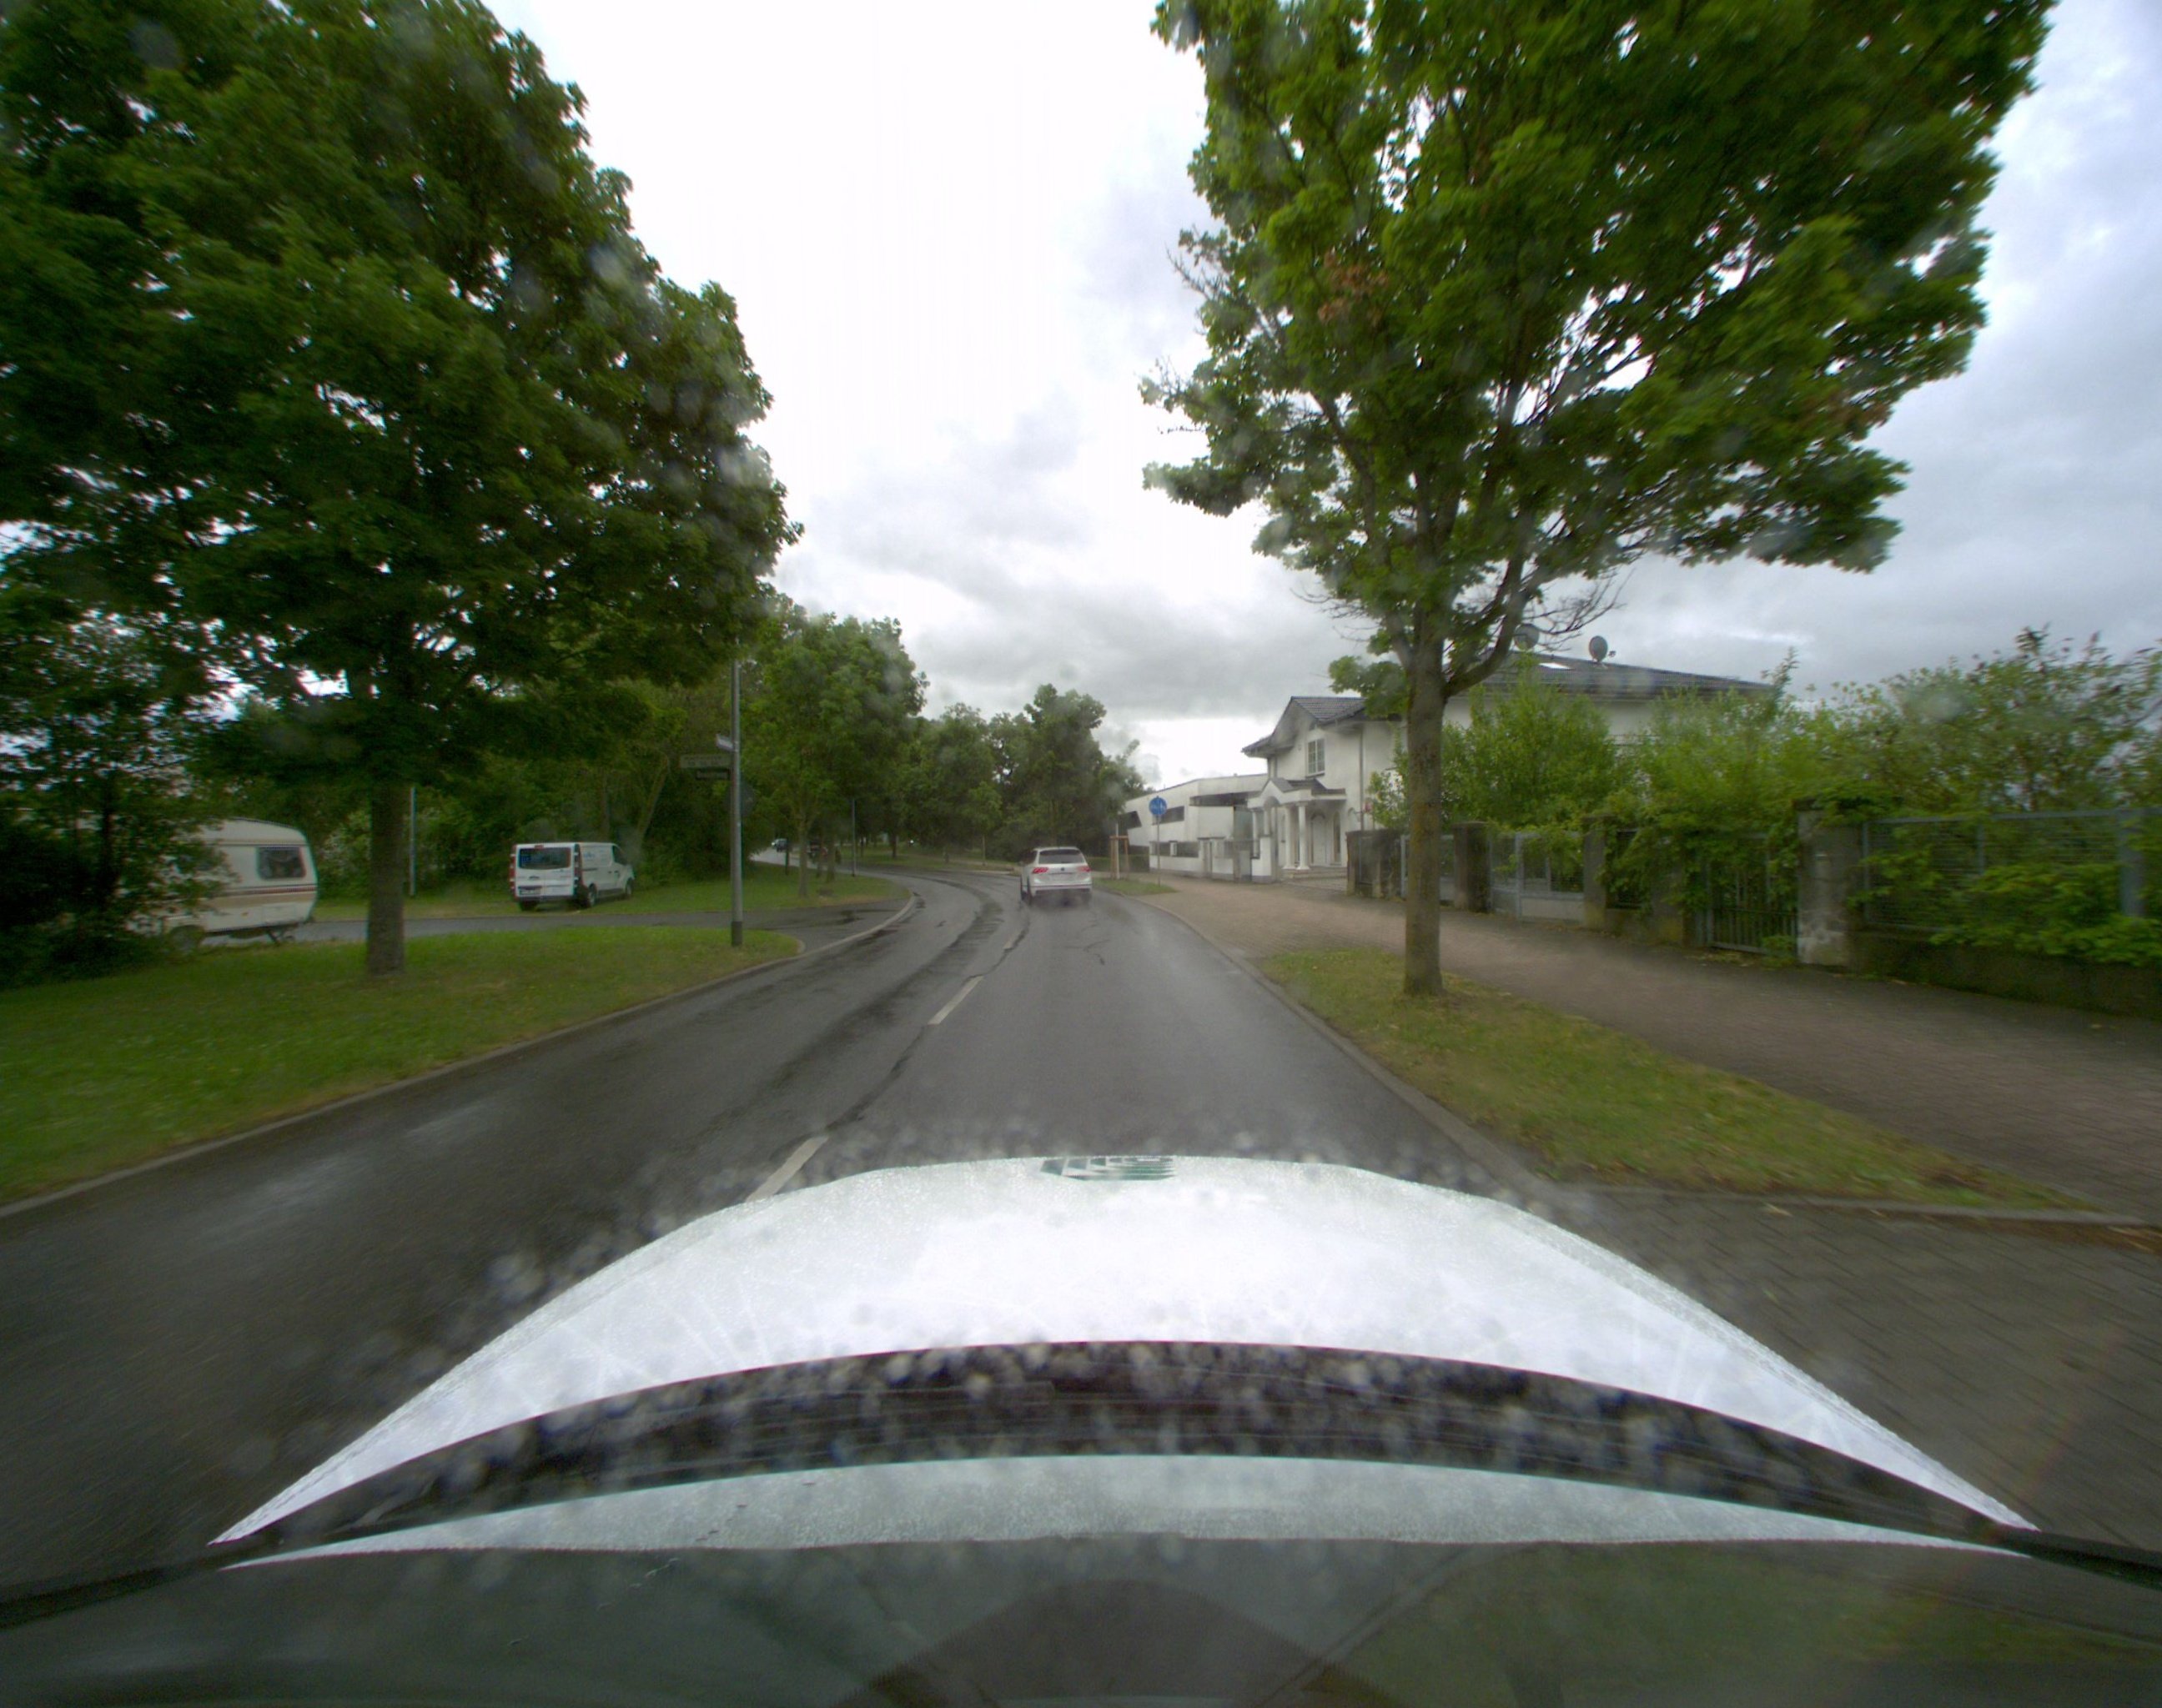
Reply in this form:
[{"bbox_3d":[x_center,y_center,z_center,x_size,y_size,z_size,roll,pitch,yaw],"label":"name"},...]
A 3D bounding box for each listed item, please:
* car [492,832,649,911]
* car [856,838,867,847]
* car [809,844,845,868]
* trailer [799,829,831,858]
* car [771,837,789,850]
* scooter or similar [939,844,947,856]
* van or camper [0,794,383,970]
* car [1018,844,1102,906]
[{"bbox_3d":[-15.752,0.406,25.568,2.127,1.985,5.458,-2,3,-9],"label":"car"},{"bbox_3d":[-46.894,-2.490,173.751,1.995,1.807,3.984,2,0,-12],"label":"car"},{"bbox_3d":[-22.334,0.143,71.459,1.914,2.014,3.903,2,0,-34],"label":"car"},{"bbox_3d":[-28.350,-1.170,86.543,2.006,2.807,5.556,-7,4,-29],"label":"trailer"},{"bbox_3d":[-41.473,-1.457,112.248,1.800,1.537,4.056,2,1,-28],"label":"car"},{"bbox_3d":[-13.921,-0.381,81.990,0.465,1.146,1.290,-2,2,-25],"label":"scooter or similar"},{"bbox_3d":[-15.987,0.412,14.147,2.381,2.360,6.796,-1,0,-6],"label":"van or camper"},{"bbox_3d":[-0.735,0.567,24.593,1.974,1.653,4.164,-2,0,-9],"label":"car"}]
